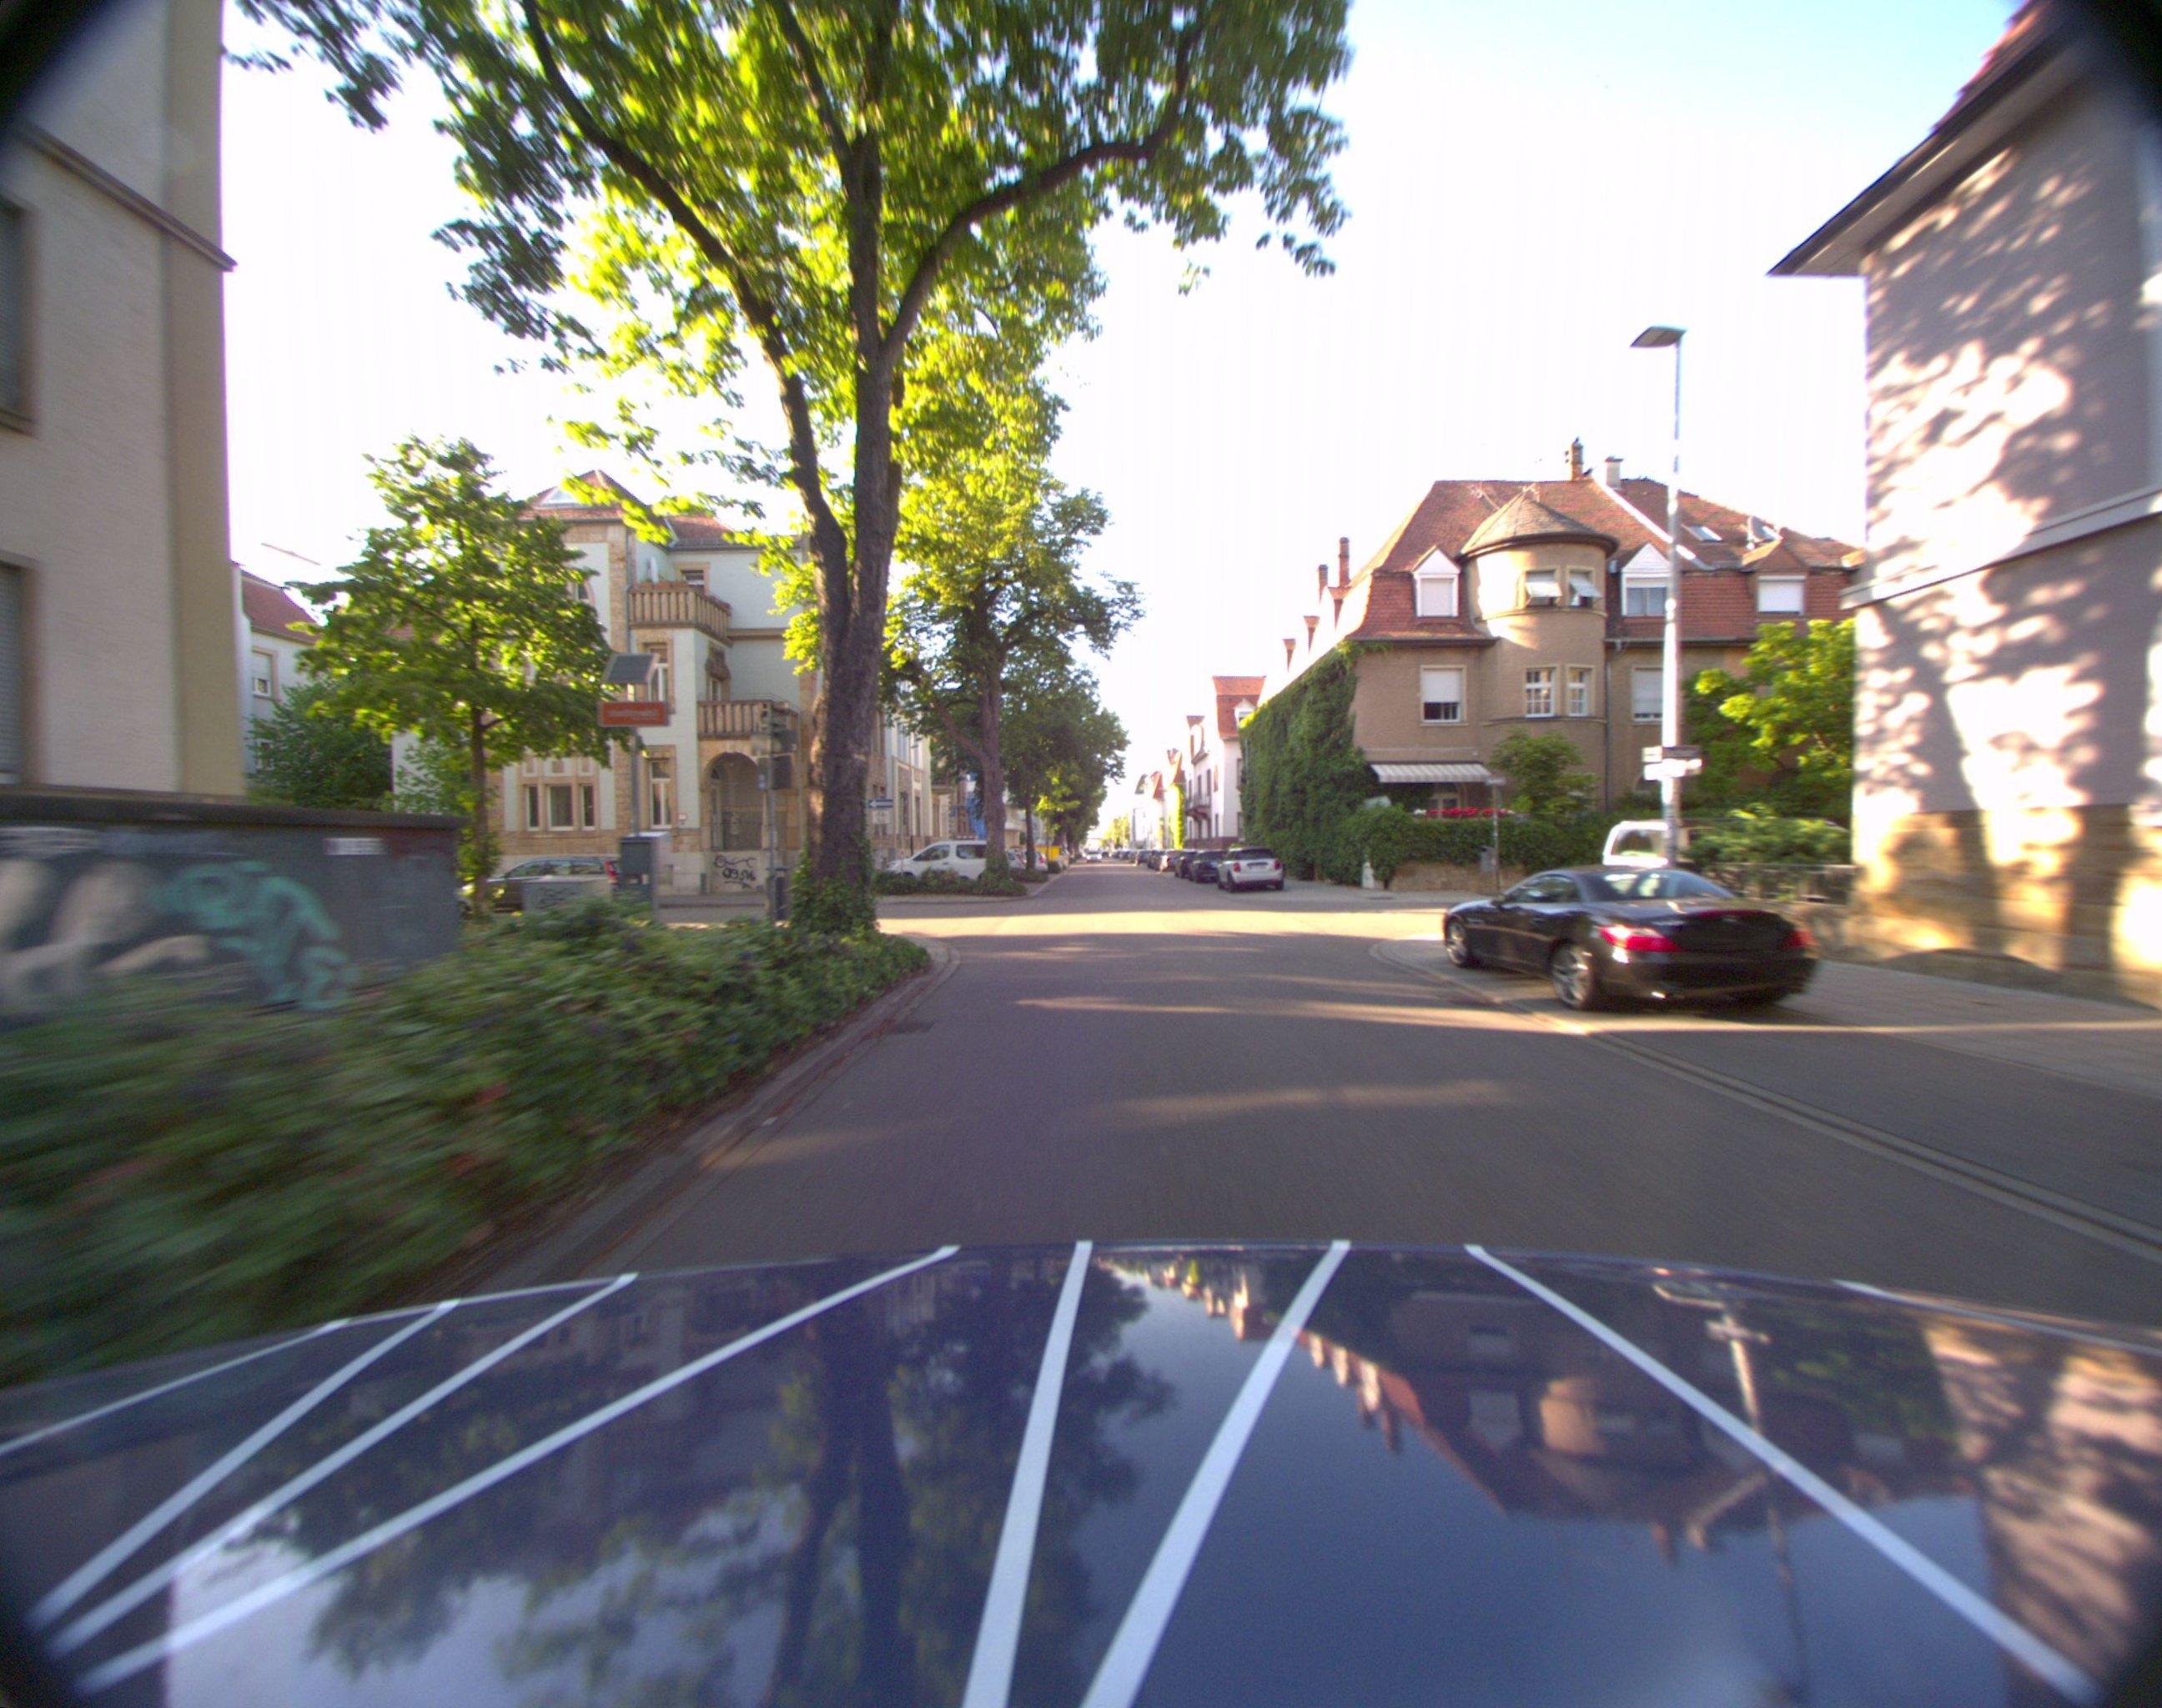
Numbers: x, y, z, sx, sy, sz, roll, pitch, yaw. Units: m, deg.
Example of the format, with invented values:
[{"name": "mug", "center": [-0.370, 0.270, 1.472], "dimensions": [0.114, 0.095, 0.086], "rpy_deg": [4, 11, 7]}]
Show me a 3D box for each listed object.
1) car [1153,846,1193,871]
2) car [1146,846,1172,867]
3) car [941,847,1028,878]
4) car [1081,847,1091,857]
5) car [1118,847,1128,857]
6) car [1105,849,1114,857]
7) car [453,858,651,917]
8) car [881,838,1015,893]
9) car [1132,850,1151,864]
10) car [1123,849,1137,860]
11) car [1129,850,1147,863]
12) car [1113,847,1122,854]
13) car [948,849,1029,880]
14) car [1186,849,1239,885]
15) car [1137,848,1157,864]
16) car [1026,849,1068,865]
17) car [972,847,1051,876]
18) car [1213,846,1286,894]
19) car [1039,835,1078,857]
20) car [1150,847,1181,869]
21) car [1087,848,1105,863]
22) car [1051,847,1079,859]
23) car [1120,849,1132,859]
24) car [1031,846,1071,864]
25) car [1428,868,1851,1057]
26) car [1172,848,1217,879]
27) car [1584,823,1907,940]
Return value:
[{"name": "car", "center": [5.887, 0.279, 49.156], "dimensions": [1.797, 1.453, 4.776], "rpy_deg": [-2, 1, -2]}, {"name": "car", "center": [6.088, 0.179, 59.770], "dimensions": [1.657, 1.477, 3.764], "rpy_deg": [-2, 1, 1]}, {"name": "car", "center": [-5.018, 0.432, 39.909], "dimensions": [4.325, 1.526, 1.828], "rpy_deg": [1, 1, 1]}, {"name": "car", "center": [0.960, -0.317, 147.290], "dimensions": [1.998, 1.874, 3.999], "rpy_deg": [-1, 0, 0]}, {"name": "car", "center": [7.226, -0.358, 131.734], "dimensions": [1.654, 1.474, 3.429], "rpy_deg": [-2, 1, 2]}, {"name": "car", "center": [5.740, -0.220, 155.059], "dimensions": [1.776, 1.440, 4.000], "rpy_deg": [0, 0, 1]}, {"name": "car", "center": [-14.119, 0.874, 20.443], "dimensions": [4.167, 1.467, 1.656], "rpy_deg": [-1, -1, 0]}, {"name": "car", "center": [-4.580, 0.378, 26.612], "dimensions": [4.325, 1.797, 2.000], "rpy_deg": [1, 1, 1]}, {"name": "car", "center": [6.638, 0.357, 83.582], "dimensions": [1.657, 1.407, 4.167], "rpy_deg": [-2, 1, 0]}, {"name": "car", "center": [6.864, 0.057, 107.329], "dimensions": [1.657, 1.446, 4.630], "rpy_deg": [-2, 1, 1]}, {"name": "car", "center": [6.635, 0.287, 88.868], "dimensions": [1.714, 1.461, 4.632], "rpy_deg": [-2, 1, -1]}, {"name": "car", "center": [7.681, -0.817, 160.077], "dimensions": [1.723, 1.386, 3.908], "rpy_deg": [-2, 0, 2]}, {"name": "car", "center": [-4.554, 0.489, 37.654], "dimensions": [3.757, 1.454, 1.734], "rpy_deg": [1, 1, 1]}, {"name": "car", "center": [5.591, 0.515, 32.660], "dimensions": [1.690, 1.371, 3.720], "rpy_deg": [-2, 1, 1]}, {"name": "car", "center": [6.357, 0.140, 73.259], "dimensions": [1.657, 1.438, 4.005], "rpy_deg": [-2, 1, 1]}, {"name": "car", "center": [-3.517, 0.318, 78.944], "dimensions": [4.343, 1.673, 1.705], "rpy_deg": [0, 0, -2]}, {"name": "car", "center": [-3.862, 0.399, 42.634], "dimensions": [4.153, 1.526, 1.687], "rpy_deg": [1, 1, 3]}, {"name": "car", "center": [5.601, 0.477, 25.706], "dimensions": [1.708, 1.452, 3.917], "rpy_deg": [-2, 1, 2]}, {"name": "car", "center": [-2.942, -1.076, 100.099], "dimensions": [5.108, 2.885, 2.075], "rpy_deg": [0, 1, -2]}, {"name": "car", "center": [6.072, 0.260, 55.046], "dimensions": [1.658, 1.438, 3.843], "rpy_deg": [-2, 1, -1]}, {"name": "car", "center": [1.877, 0.169, 93.207], "dimensions": [2.098, 1.701, 4.606], "rpy_deg": [-1, 1, 2]}, {"name": "car", "center": [-2.553, -0.171, 119.396], "dimensions": [4.313, 1.874, 1.758], "rpy_deg": [0, 2, -2]}, {"name": "car", "center": [6.960, -0.039, 117.266], "dimensions": [1.585, 1.512, 3.706], "rpy_deg": [-2, 1, -1]}, {"name": "car", "center": [-3.378, 0.117, 86.786], "dimensions": [4.481, 2.002, 1.896], "rpy_deg": [-1, 1, -1]}, {"name": "car", "center": [5.356, 0.906, 8.057], "dimensions": [1.657, 1.316, 4.045], "rpy_deg": [-2, 1, 3]}, {"name": "car", "center": [5.668, 0.434, 38.322], "dimensions": [1.653, 1.412, 4.098], "rpy_deg": [-2, 1, 1]}, {"name": "car", "center": [12.494, 0.452, 14.529], "dimensions": [4.412, 2.003, 1.998], "rpy_deg": [-1, 3, -2]}]
